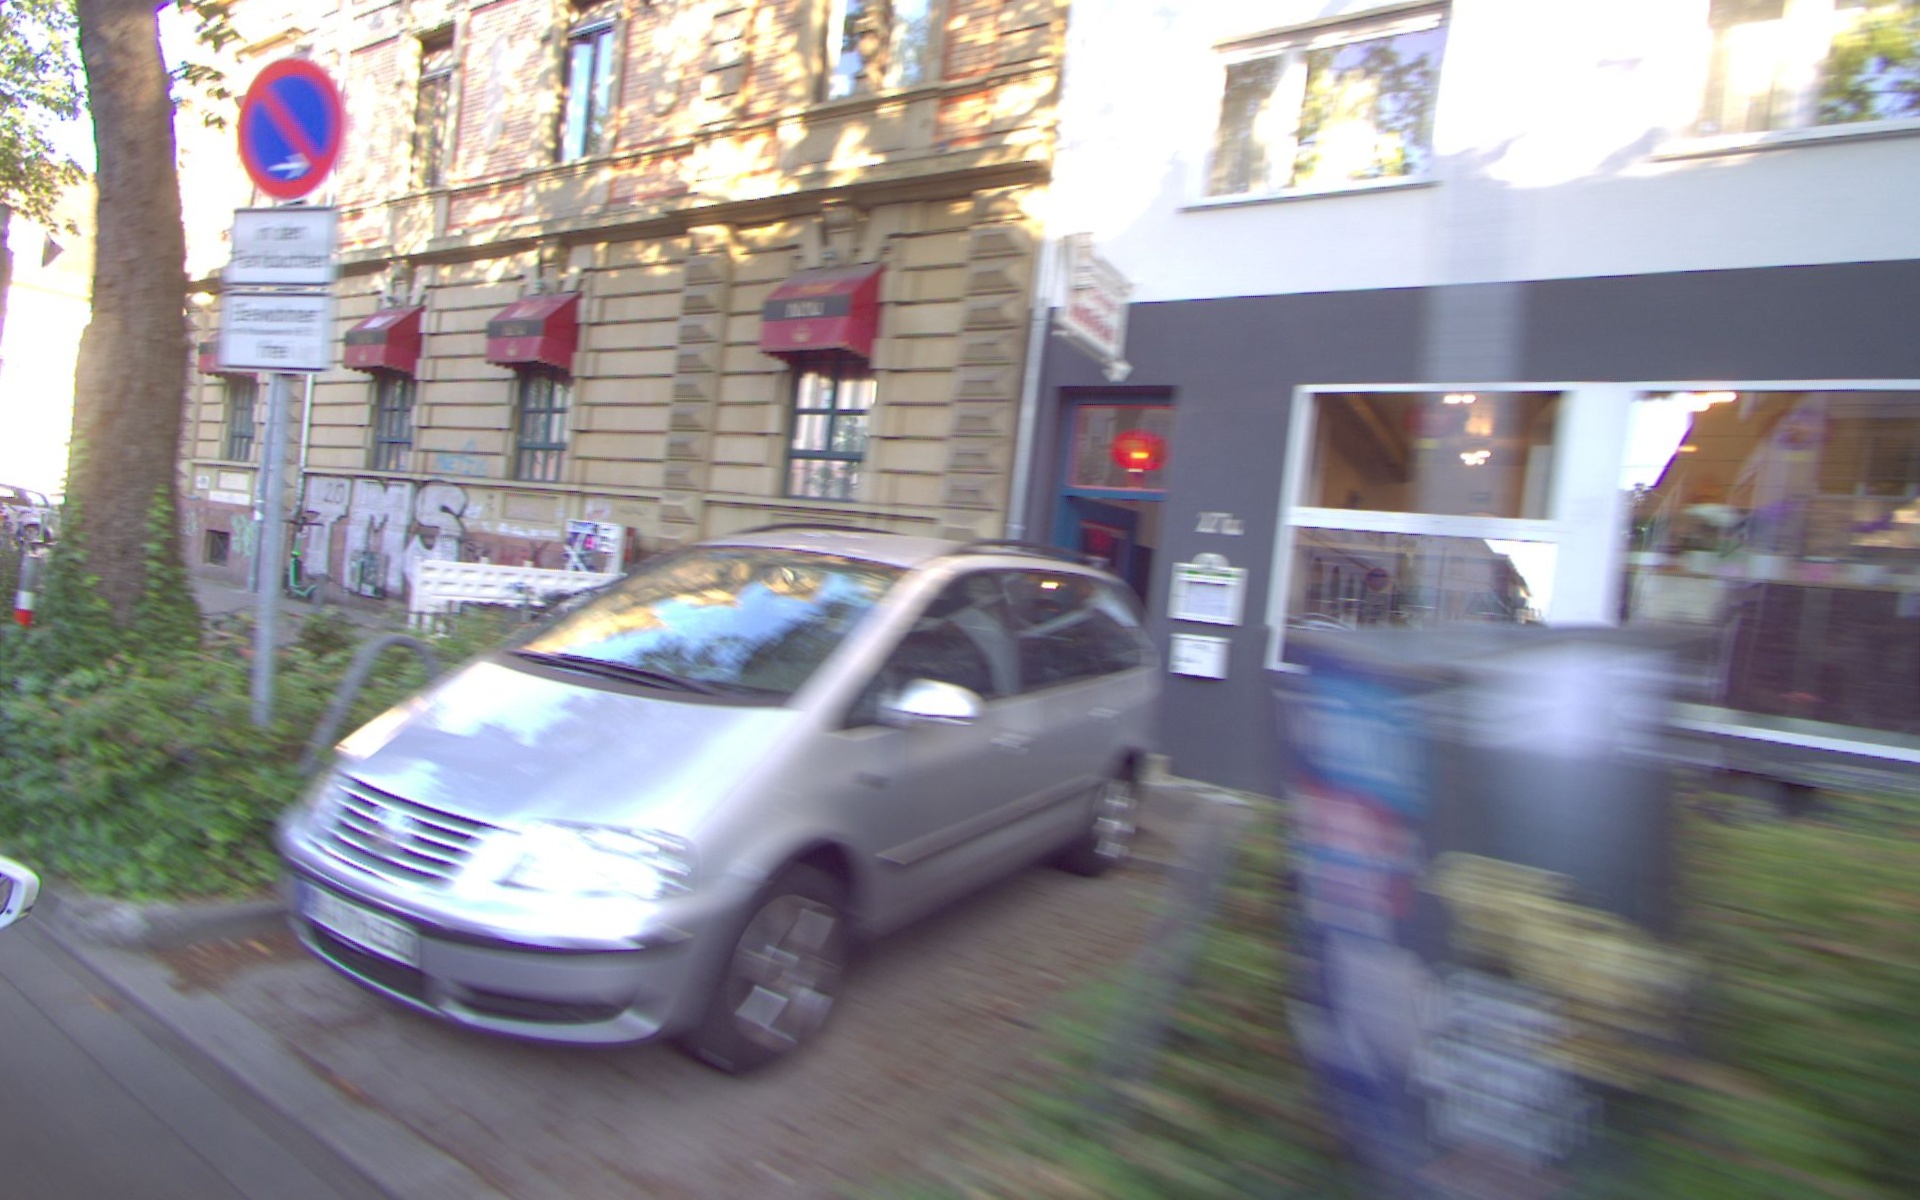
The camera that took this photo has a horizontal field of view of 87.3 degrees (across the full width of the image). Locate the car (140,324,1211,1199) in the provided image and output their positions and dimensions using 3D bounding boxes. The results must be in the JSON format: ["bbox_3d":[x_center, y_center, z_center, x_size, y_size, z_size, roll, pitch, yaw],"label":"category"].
[{"bbox_3d":[-0.525,0.393,4.613,1.917,1.939,4.546,7,1,30],"label":"car"}]

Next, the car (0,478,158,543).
[{"bbox_3d":[-30.099,-3.022,34.008,4.379,1.562,1.851,7,0,-32],"label":"car"}]

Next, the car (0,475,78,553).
[{"bbox_3d":[-23.525,-2.215,23.182,1.851,1.674,4.351,7,0,22],"label":"car"}]

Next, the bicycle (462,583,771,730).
[{"bbox_3d":[-2.348,0.344,6.710,2.291,0.672,0.582,6,-1,32],"label":"bicycle"}]

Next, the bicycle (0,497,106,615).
[{"bbox_3d":[-10.699,-0.549,11.536,2.210,1.167,0.524,7,1,28],"label":"bicycle"}]

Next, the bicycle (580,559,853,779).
[{"bbox_3d":[-1.816,0.438,7.273,2.127,1.254,0.581,7,1,37],"label":"bicycle"}]

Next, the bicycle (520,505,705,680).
[{"bbox_3d":[-2.870,-0.089,8.222,1.698,1.251,0.385,7,2,34],"label":"bicycle"}]

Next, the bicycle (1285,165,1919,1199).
[{"bbox_3d":[1.464,0.484,2.509,0.647,1.683,3.120,7,-1,28],"label":"bicycle"}]

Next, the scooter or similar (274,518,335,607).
[{"bbox_3d":[-9.709,-0.563,14.895,1.074,1.209,0.251,8,2,33],"label":"scooter or similar"}]

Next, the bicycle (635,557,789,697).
[{"bbox_3d":[-2.571,0.252,10.330,1.698,1.226,0.385,7,2,34],"label":"bicycle"}]
